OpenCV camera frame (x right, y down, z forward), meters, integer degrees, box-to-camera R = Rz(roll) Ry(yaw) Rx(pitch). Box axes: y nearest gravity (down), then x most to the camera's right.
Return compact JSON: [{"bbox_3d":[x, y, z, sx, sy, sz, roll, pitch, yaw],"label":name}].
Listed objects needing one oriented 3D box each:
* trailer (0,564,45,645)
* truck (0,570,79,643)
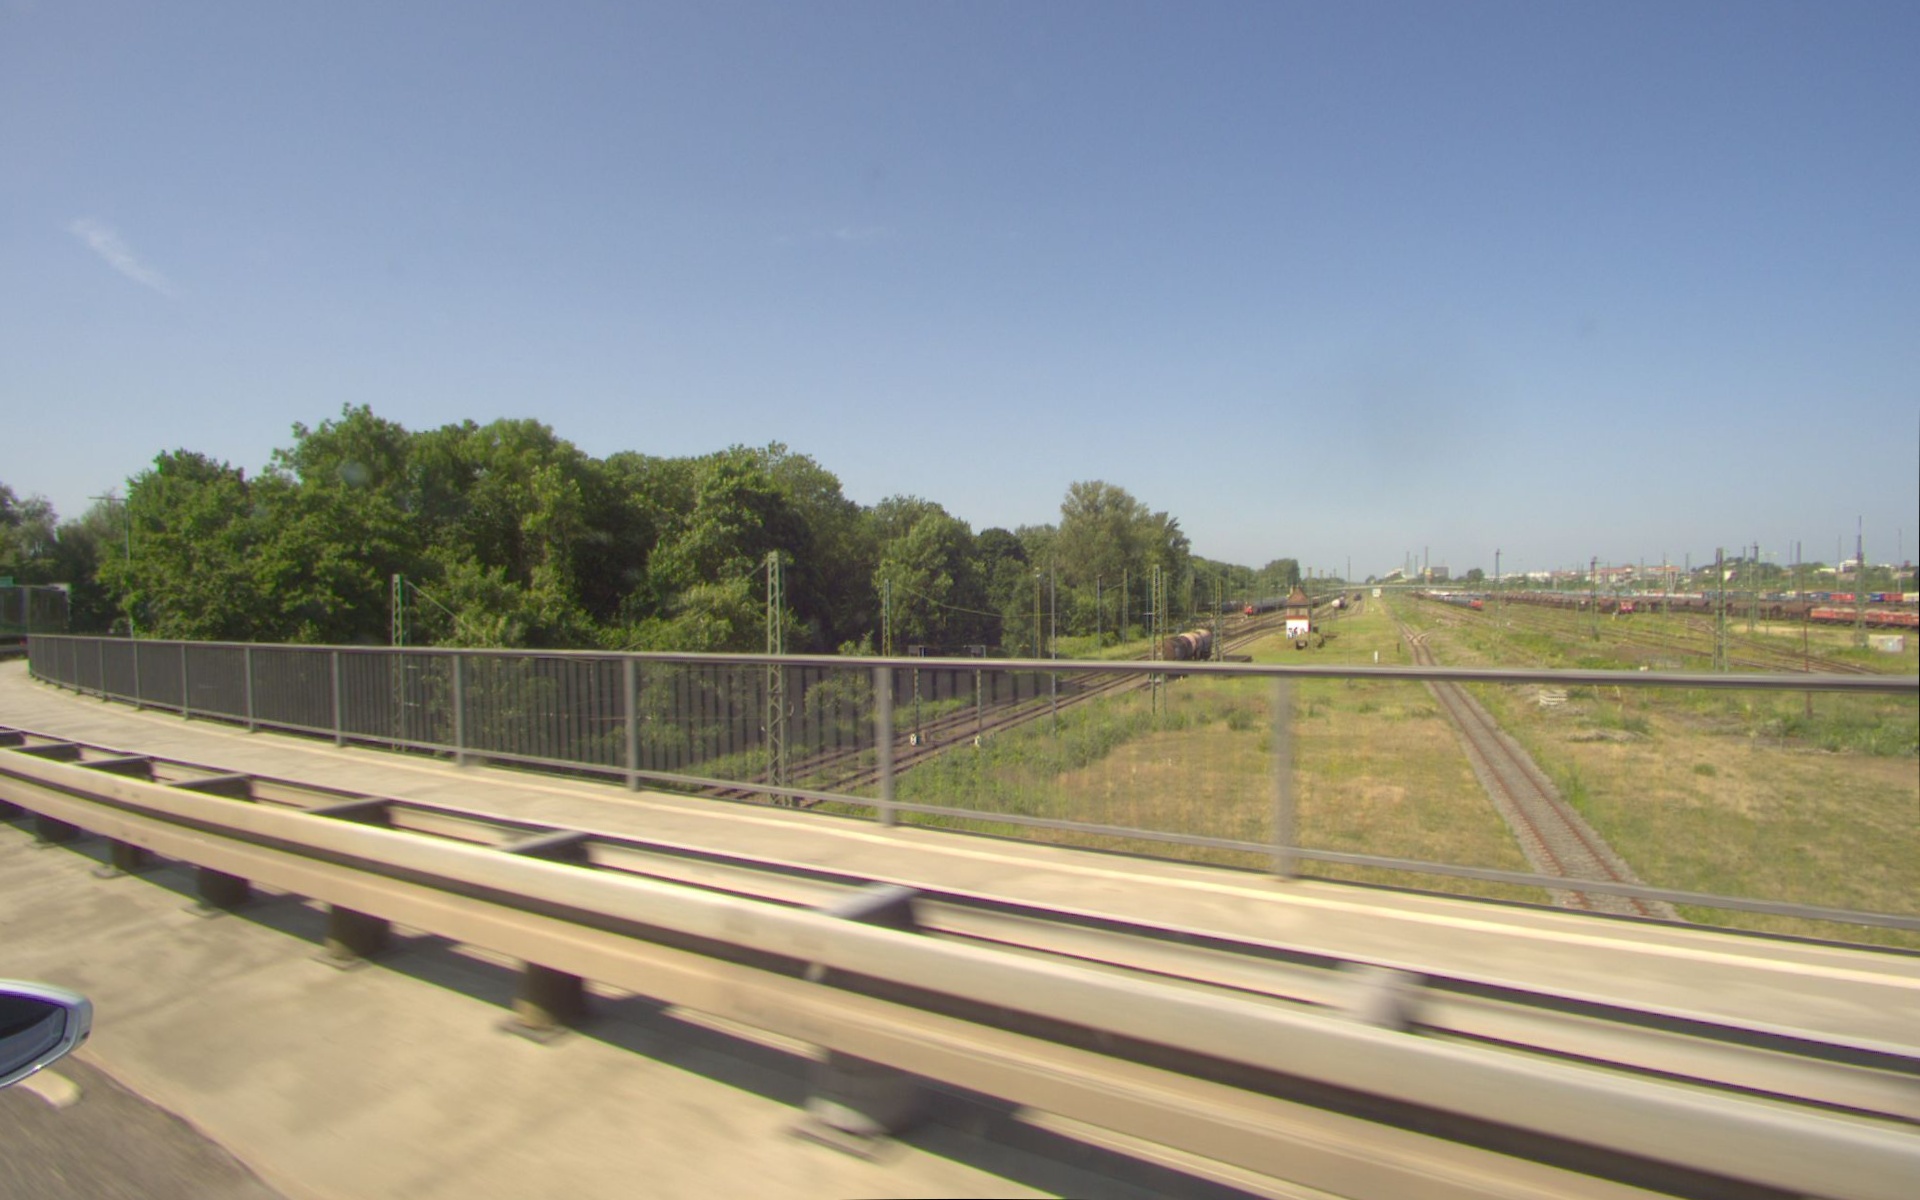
[{"bbox_3d":[-48.352,0.232,49.467,3.193,3.805,7.779,3,-3,-32],"label":"trailer"},{"bbox_3d":[-52.657,0.407,56.298,3.228,3.805,8.321,3,-3,-32],"label":"truck"}]
